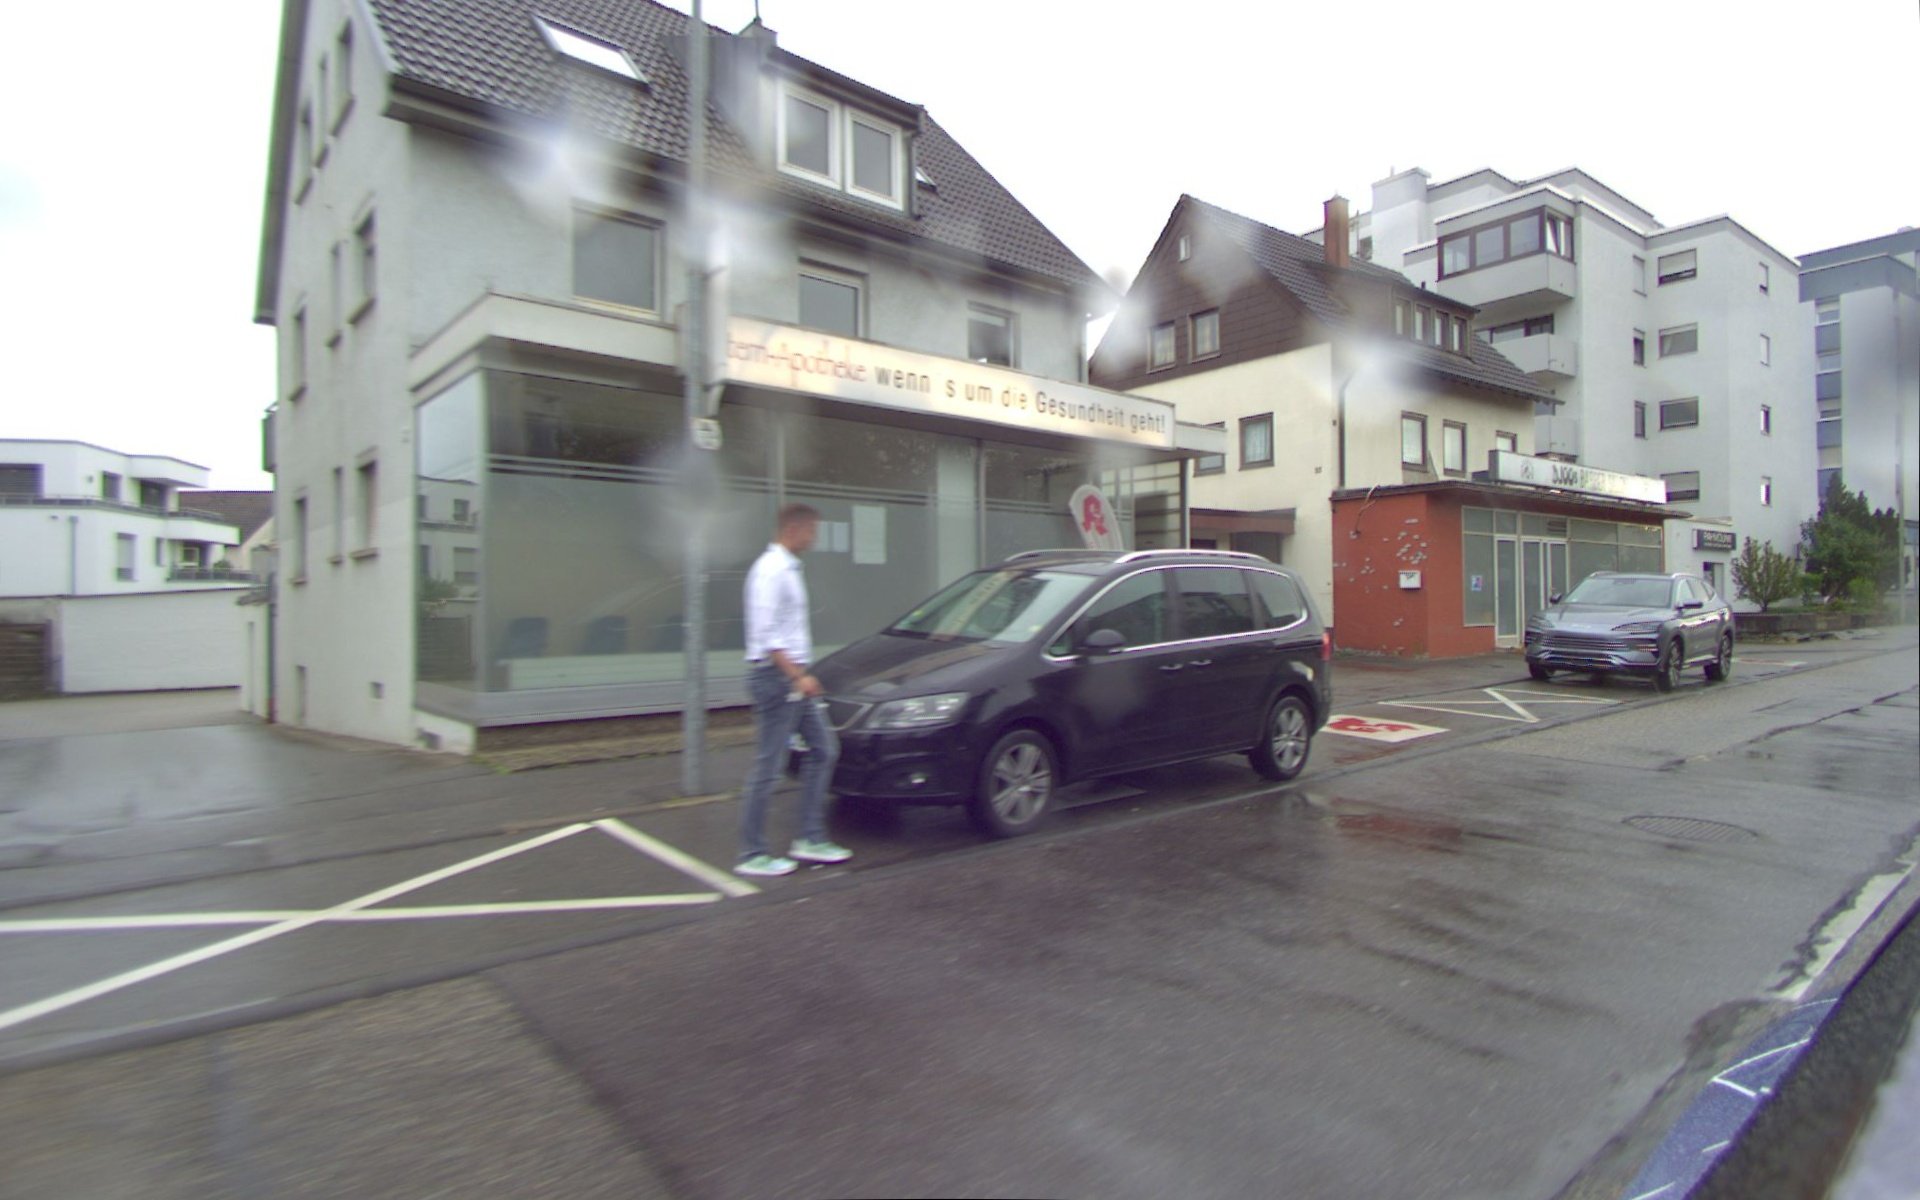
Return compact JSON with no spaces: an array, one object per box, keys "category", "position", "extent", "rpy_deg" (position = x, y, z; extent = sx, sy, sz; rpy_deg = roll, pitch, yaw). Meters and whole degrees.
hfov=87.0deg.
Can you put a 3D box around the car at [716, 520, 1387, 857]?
[{"category":"car","position":[0.898,0.364,7.462],"extent":[4.873,1.716,2.041],"rpy_deg":[-1,3,-38]}]

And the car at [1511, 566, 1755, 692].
[{"category":"car","position":[10.611,0.313,15.816],"extent":[4.707,1.663,1.879],"rpy_deg":[-1,3,-40]}]

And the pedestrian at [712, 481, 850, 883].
[{"category":"pedestrian","position":[-0.890,0.387,5.158],"extent":[0.634,1.915,0.624],"rpy_deg":[0,0,-4]}]
